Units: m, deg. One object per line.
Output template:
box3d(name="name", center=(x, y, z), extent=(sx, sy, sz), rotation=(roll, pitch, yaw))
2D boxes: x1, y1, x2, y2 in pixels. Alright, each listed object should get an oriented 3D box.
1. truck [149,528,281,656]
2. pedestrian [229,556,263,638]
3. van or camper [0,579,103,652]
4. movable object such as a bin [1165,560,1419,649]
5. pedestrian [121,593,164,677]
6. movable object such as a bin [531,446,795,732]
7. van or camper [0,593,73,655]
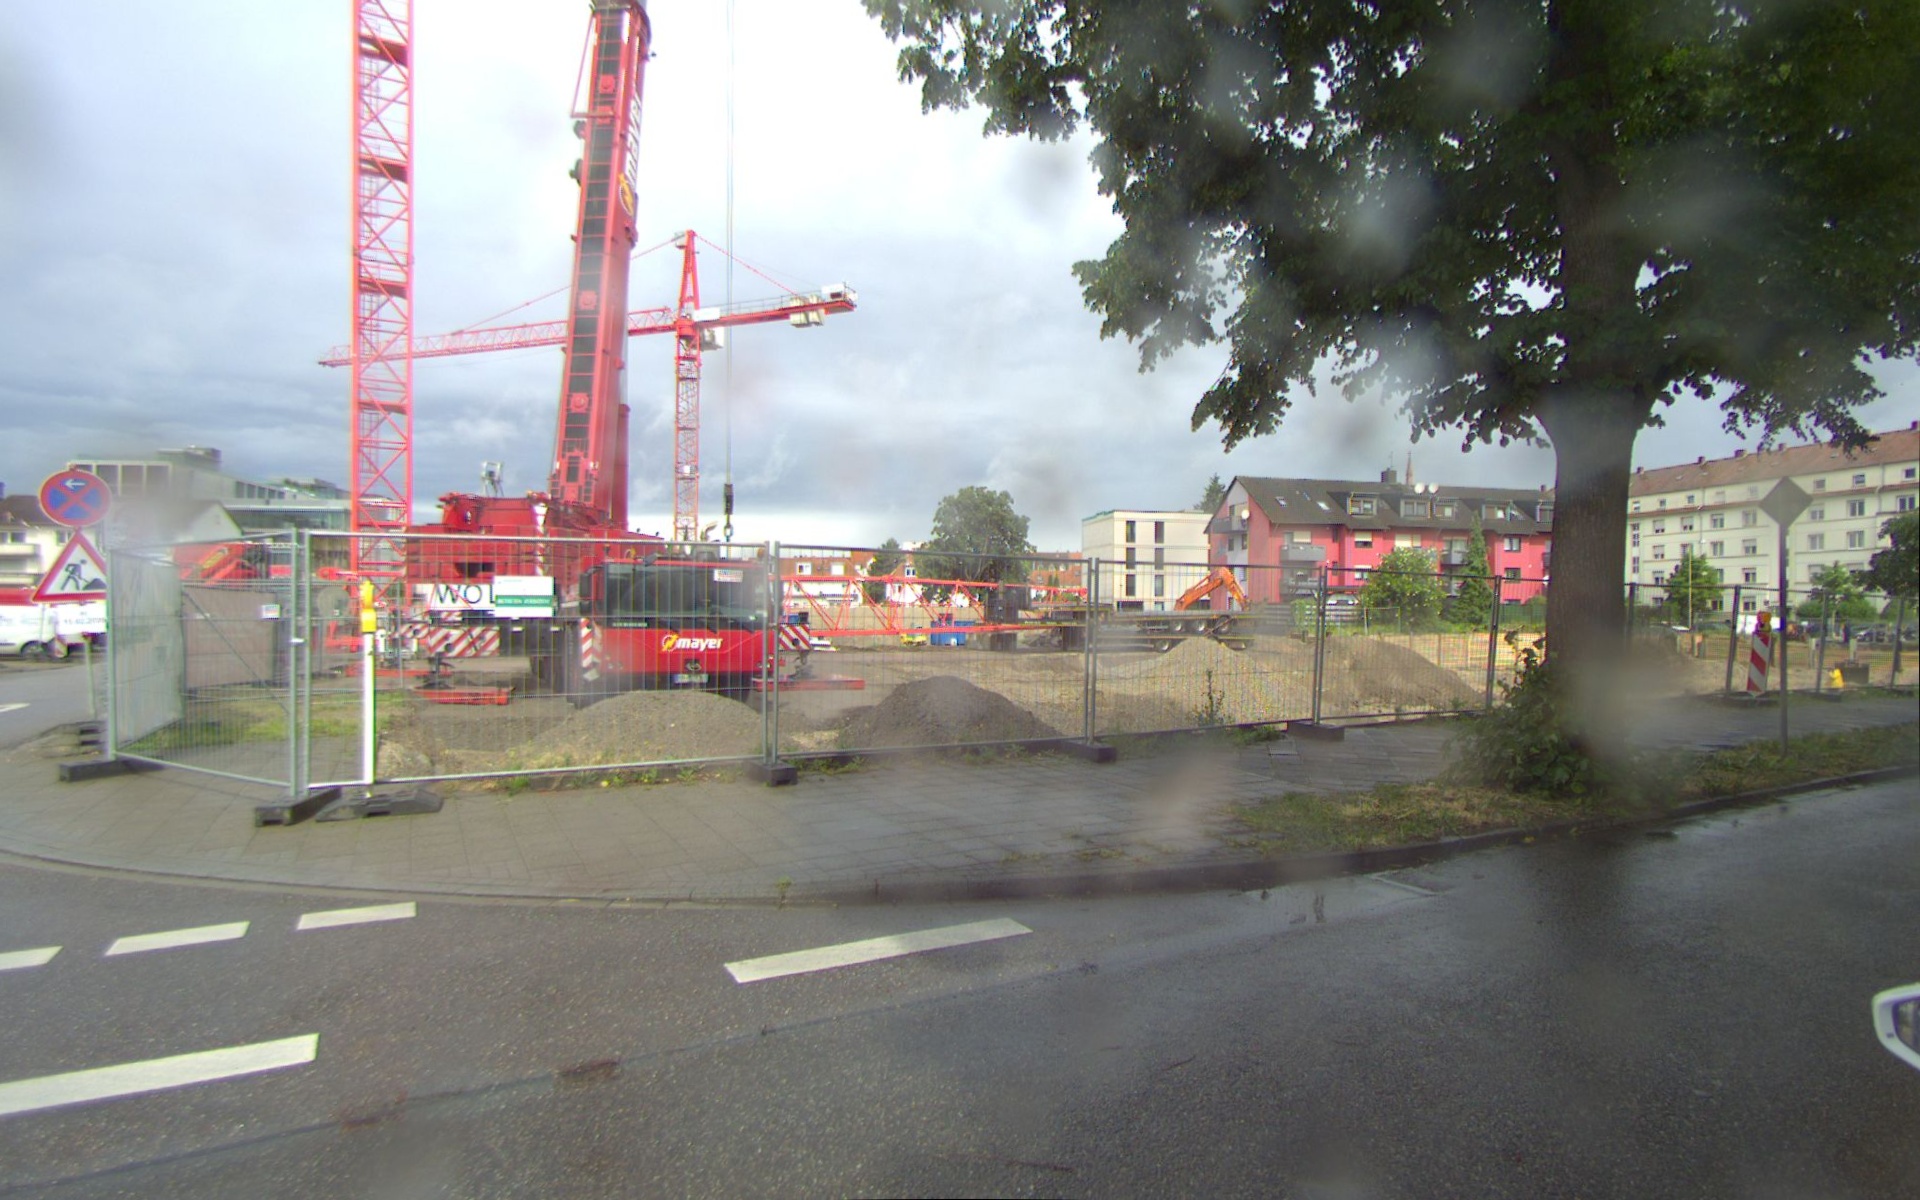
box3d(name="truck", center=(-21.273, -0.264, 28.999), extent=(2.323, 3.237, 6.958), rotation=(2, 1, -31))
box3d(name="pedestrian", center=(-18.168, -0.053, 25.559), extent=(0.681, 2.039, 0.487), rotation=(1, -4, -37))
box3d(name="van or camper", center=(-34.746, 0.591, 36.260), extent=(5.526, 2.543, 1.931), rotation=(1, -4, -35))
box3d(name="movable object such as a bin", center=(24.099, 0.306, 73.875), extent=(16.428, 6.125, 6.885), rotation=(0, 0, -5))
box3d(name="pedestrian", center=(-20.344, 0.879, 25.010), extent=(0.740, 2.039, 0.428), rotation=(1, -4, -34))
box3d(name="movable object such as a bin", center=(-6.321, -0.158, 19.779), extent=(3.322, 4.170, 9.776), rotation=(0, 0, -27))
box3d(name="van or camper", center=(-32.742, 0.824, 33.996), extent=(3.967, 2.039, 1.928), rotation=(2, -5, -40))
